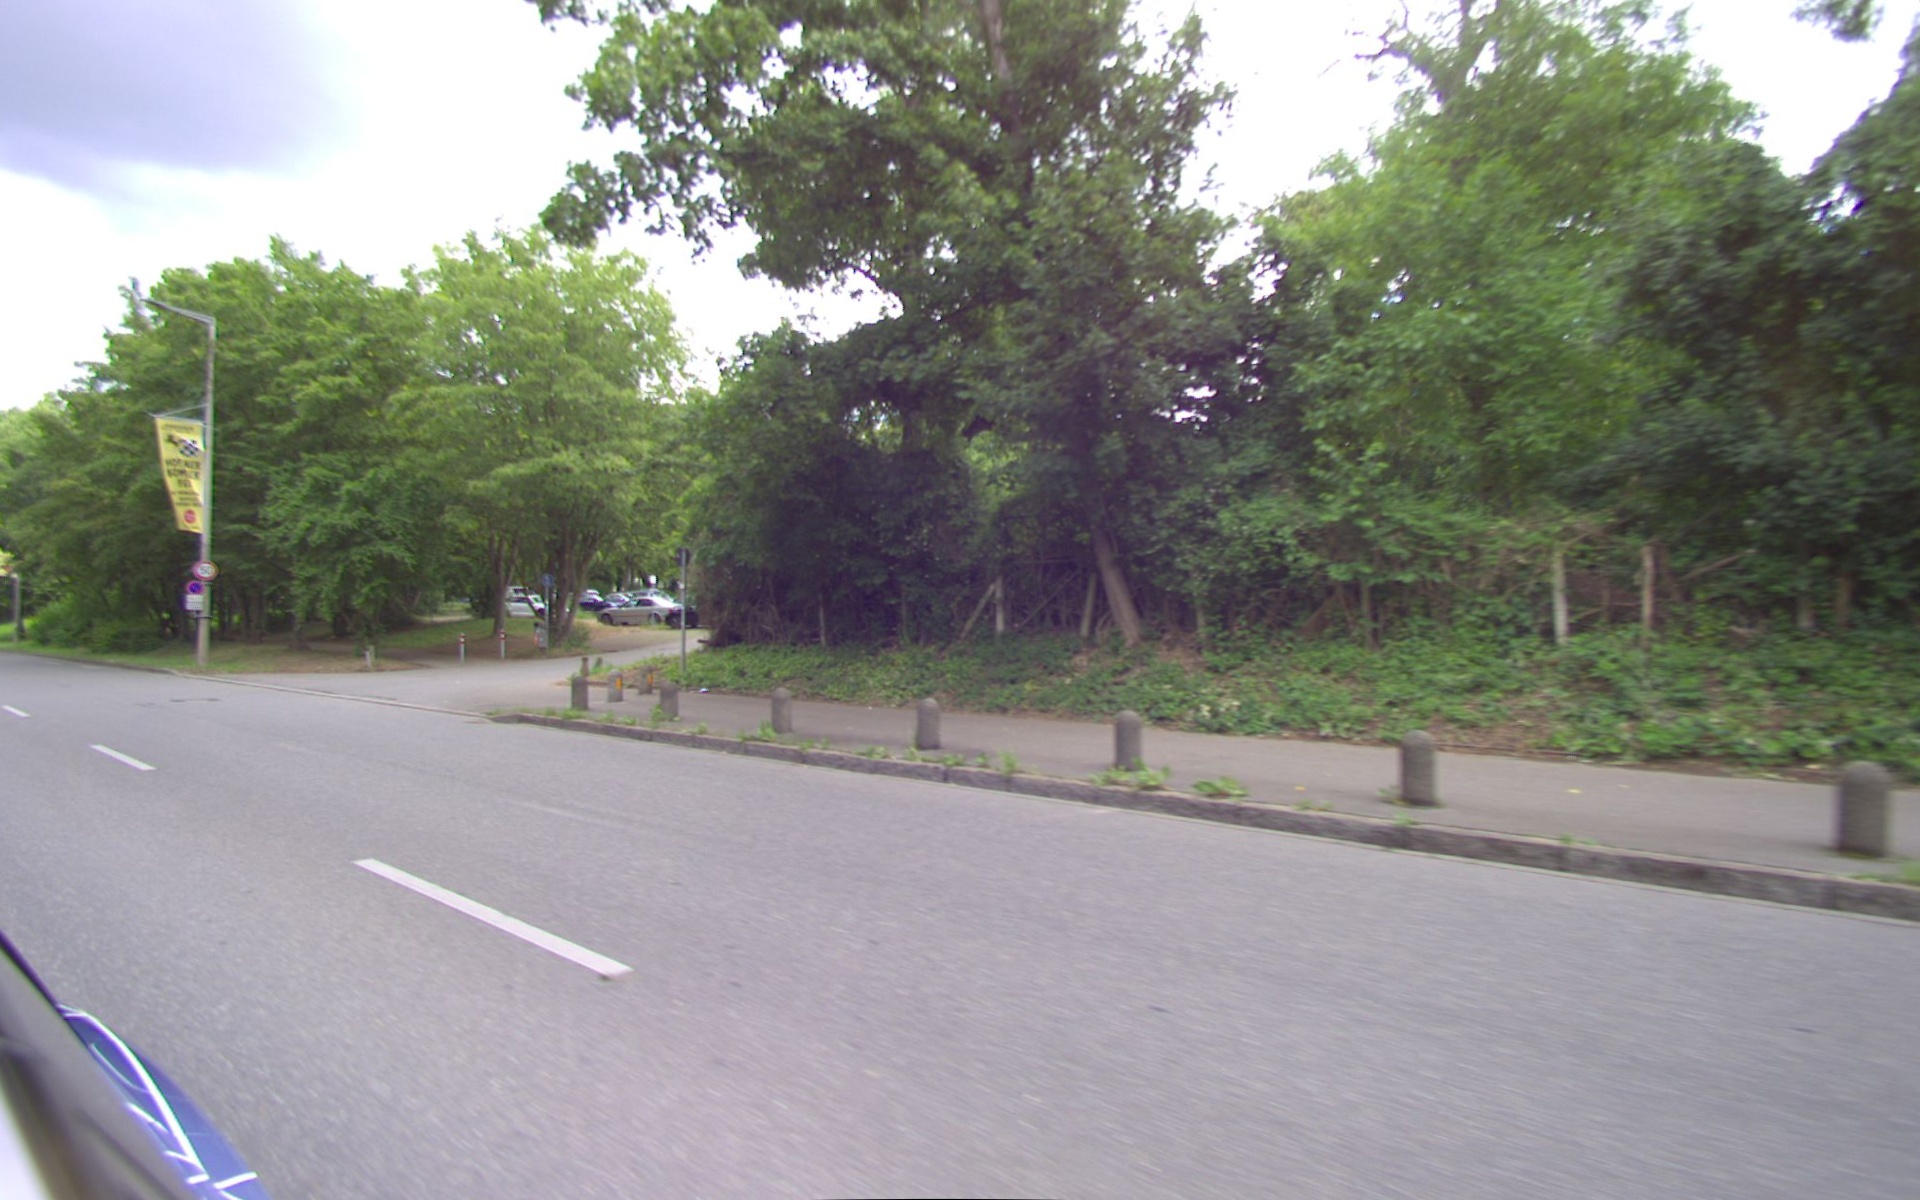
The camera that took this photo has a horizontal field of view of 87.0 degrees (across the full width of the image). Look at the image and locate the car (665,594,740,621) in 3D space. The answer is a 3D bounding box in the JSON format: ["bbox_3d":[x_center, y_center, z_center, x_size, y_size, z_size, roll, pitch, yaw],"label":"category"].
[{"bbox_3d":[-14.980,0.437,58.894,3.966,1.497,1.642,-1,-1,17],"label":"car"}]

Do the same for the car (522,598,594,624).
[{"bbox_3d":[-24.634,0.658,62.081,3.966,1.497,1.642,-1,-1,17],"label":"car"}]

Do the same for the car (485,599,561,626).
[{"bbox_3d":[-25.585,0.726,59.284,3.966,1.497,1.642,-1,-1,17],"label":"car"}]

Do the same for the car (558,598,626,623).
[{"bbox_3d":[-23.974,0.677,65.929,3.966,1.497,1.642,-1,-1,17],"label":"car"}]

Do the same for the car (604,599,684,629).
[{"bbox_3d":[-16.089,0.714,51.599,3.553,1.391,1.641,-1,1,14],"label":"car"}]

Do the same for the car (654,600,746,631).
[{"bbox_3d":[-12.248,0.720,47.694,4.092,1.350,1.433,-1,1,20],"label":"car"}]

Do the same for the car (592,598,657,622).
[{"bbox_3d":[-22.852,0.679,68.926,3.966,1.497,1.642,-1,-1,17],"label":"car"}]
